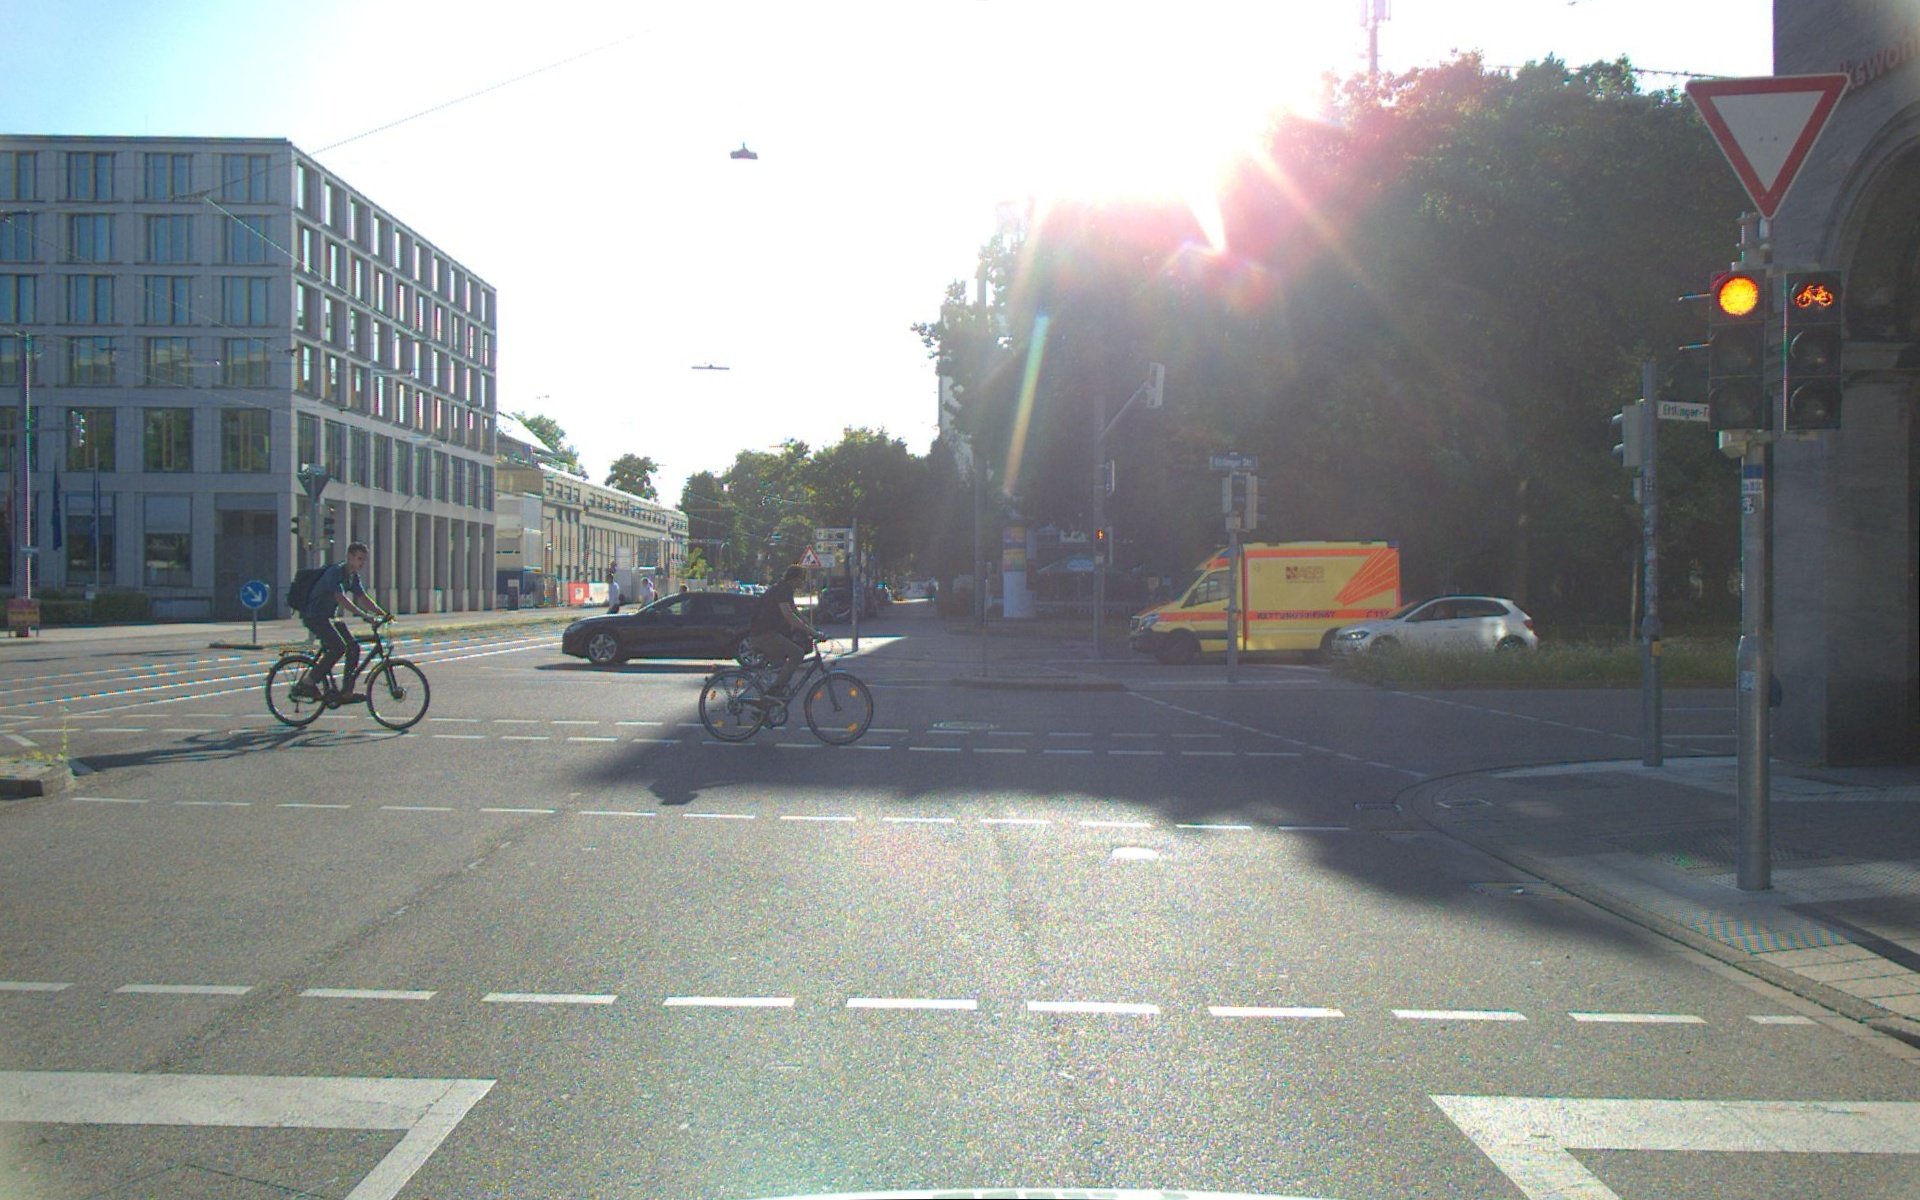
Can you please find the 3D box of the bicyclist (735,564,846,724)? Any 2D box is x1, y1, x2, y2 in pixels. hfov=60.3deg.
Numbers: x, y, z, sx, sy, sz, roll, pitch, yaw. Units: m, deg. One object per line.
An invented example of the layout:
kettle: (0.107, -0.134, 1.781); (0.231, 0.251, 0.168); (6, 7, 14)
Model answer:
bicyclist: (-1.693, 0.420, 16.631); (0.981, 1.538, 0.767); (1, 2, 3)

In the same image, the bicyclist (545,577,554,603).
bicyclist: (-32.303, -0.768, 130.215); (0.559, 2.059, 0.761); (0, 0, -2)

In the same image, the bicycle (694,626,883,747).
bicycle: (-1.707, 0.858, 16.643); (1.775, 1.104, 0.767); (1, 2, 3)

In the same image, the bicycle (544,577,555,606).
bicycle: (-32.303, -0.671, 130.213); (0.559, 2.336, 1.422); (0, 0, -2)

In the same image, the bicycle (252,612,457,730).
bicycle: (-6.260, 0.717, 17.140); (1.833, 1.178, 0.767); (0, 1, 4)

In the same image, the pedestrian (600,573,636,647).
pedestrian: (-9.083, 0.273, 43.984); (0.785, 1.951, 0.637); (0, 0, 4)

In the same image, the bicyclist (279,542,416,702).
bicyclist: (-6.337, 0.216, 17.148); (1.100, 1.622, 0.767); (0, 0, 4)

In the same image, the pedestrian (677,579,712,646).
pedestrian: (-7.320, 0.340, 45.565); (0.851, 1.835, 0.532); (0, 0, 4)

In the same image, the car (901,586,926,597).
car: (-5.914, -1.049, 211.061); (3.155, 1.285, 1.371); (1, 0, -6)

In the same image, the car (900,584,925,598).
car: (-6.120, -1.158, 213.354); (3.152, 1.616, 1.445); (1, 0, -5)

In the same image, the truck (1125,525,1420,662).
truck: (7.157, -0.144, 38.485); (6.337, 3.068, 2.725); (0, 0, -1)

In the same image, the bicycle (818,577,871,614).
bicycle: (-5.669, -0.234, 81.386); (2.495, 1.774, 1.037); (1, 0, -1)

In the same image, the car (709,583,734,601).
car: (-22.492, -0.760, 156.097); (1.856, 1.635, 4.498); (0, 0, -3)

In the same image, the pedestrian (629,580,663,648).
pedestrian: (-8.557, 0.378, 45.072); (0.723, 1.835, 0.716); (0, 0, 4)

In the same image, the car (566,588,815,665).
car: (-5.249, 0.538, 32.758); (4.641, 1.440, 1.999); (1, -1, -3)

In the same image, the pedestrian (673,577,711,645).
pedestrian: (-7.271, 0.286, 44.899); (0.852, 1.835, 0.664); (0, 0, 4)

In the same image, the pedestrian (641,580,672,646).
pedestrian: (-8.470, 0.352, 46.128); (0.723, 1.835, 0.532); (0, 0, 4)

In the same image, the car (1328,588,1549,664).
car: (9.569, 0.508, 33.248); (3.962, 1.459, 1.631); (0, 0, -3)
